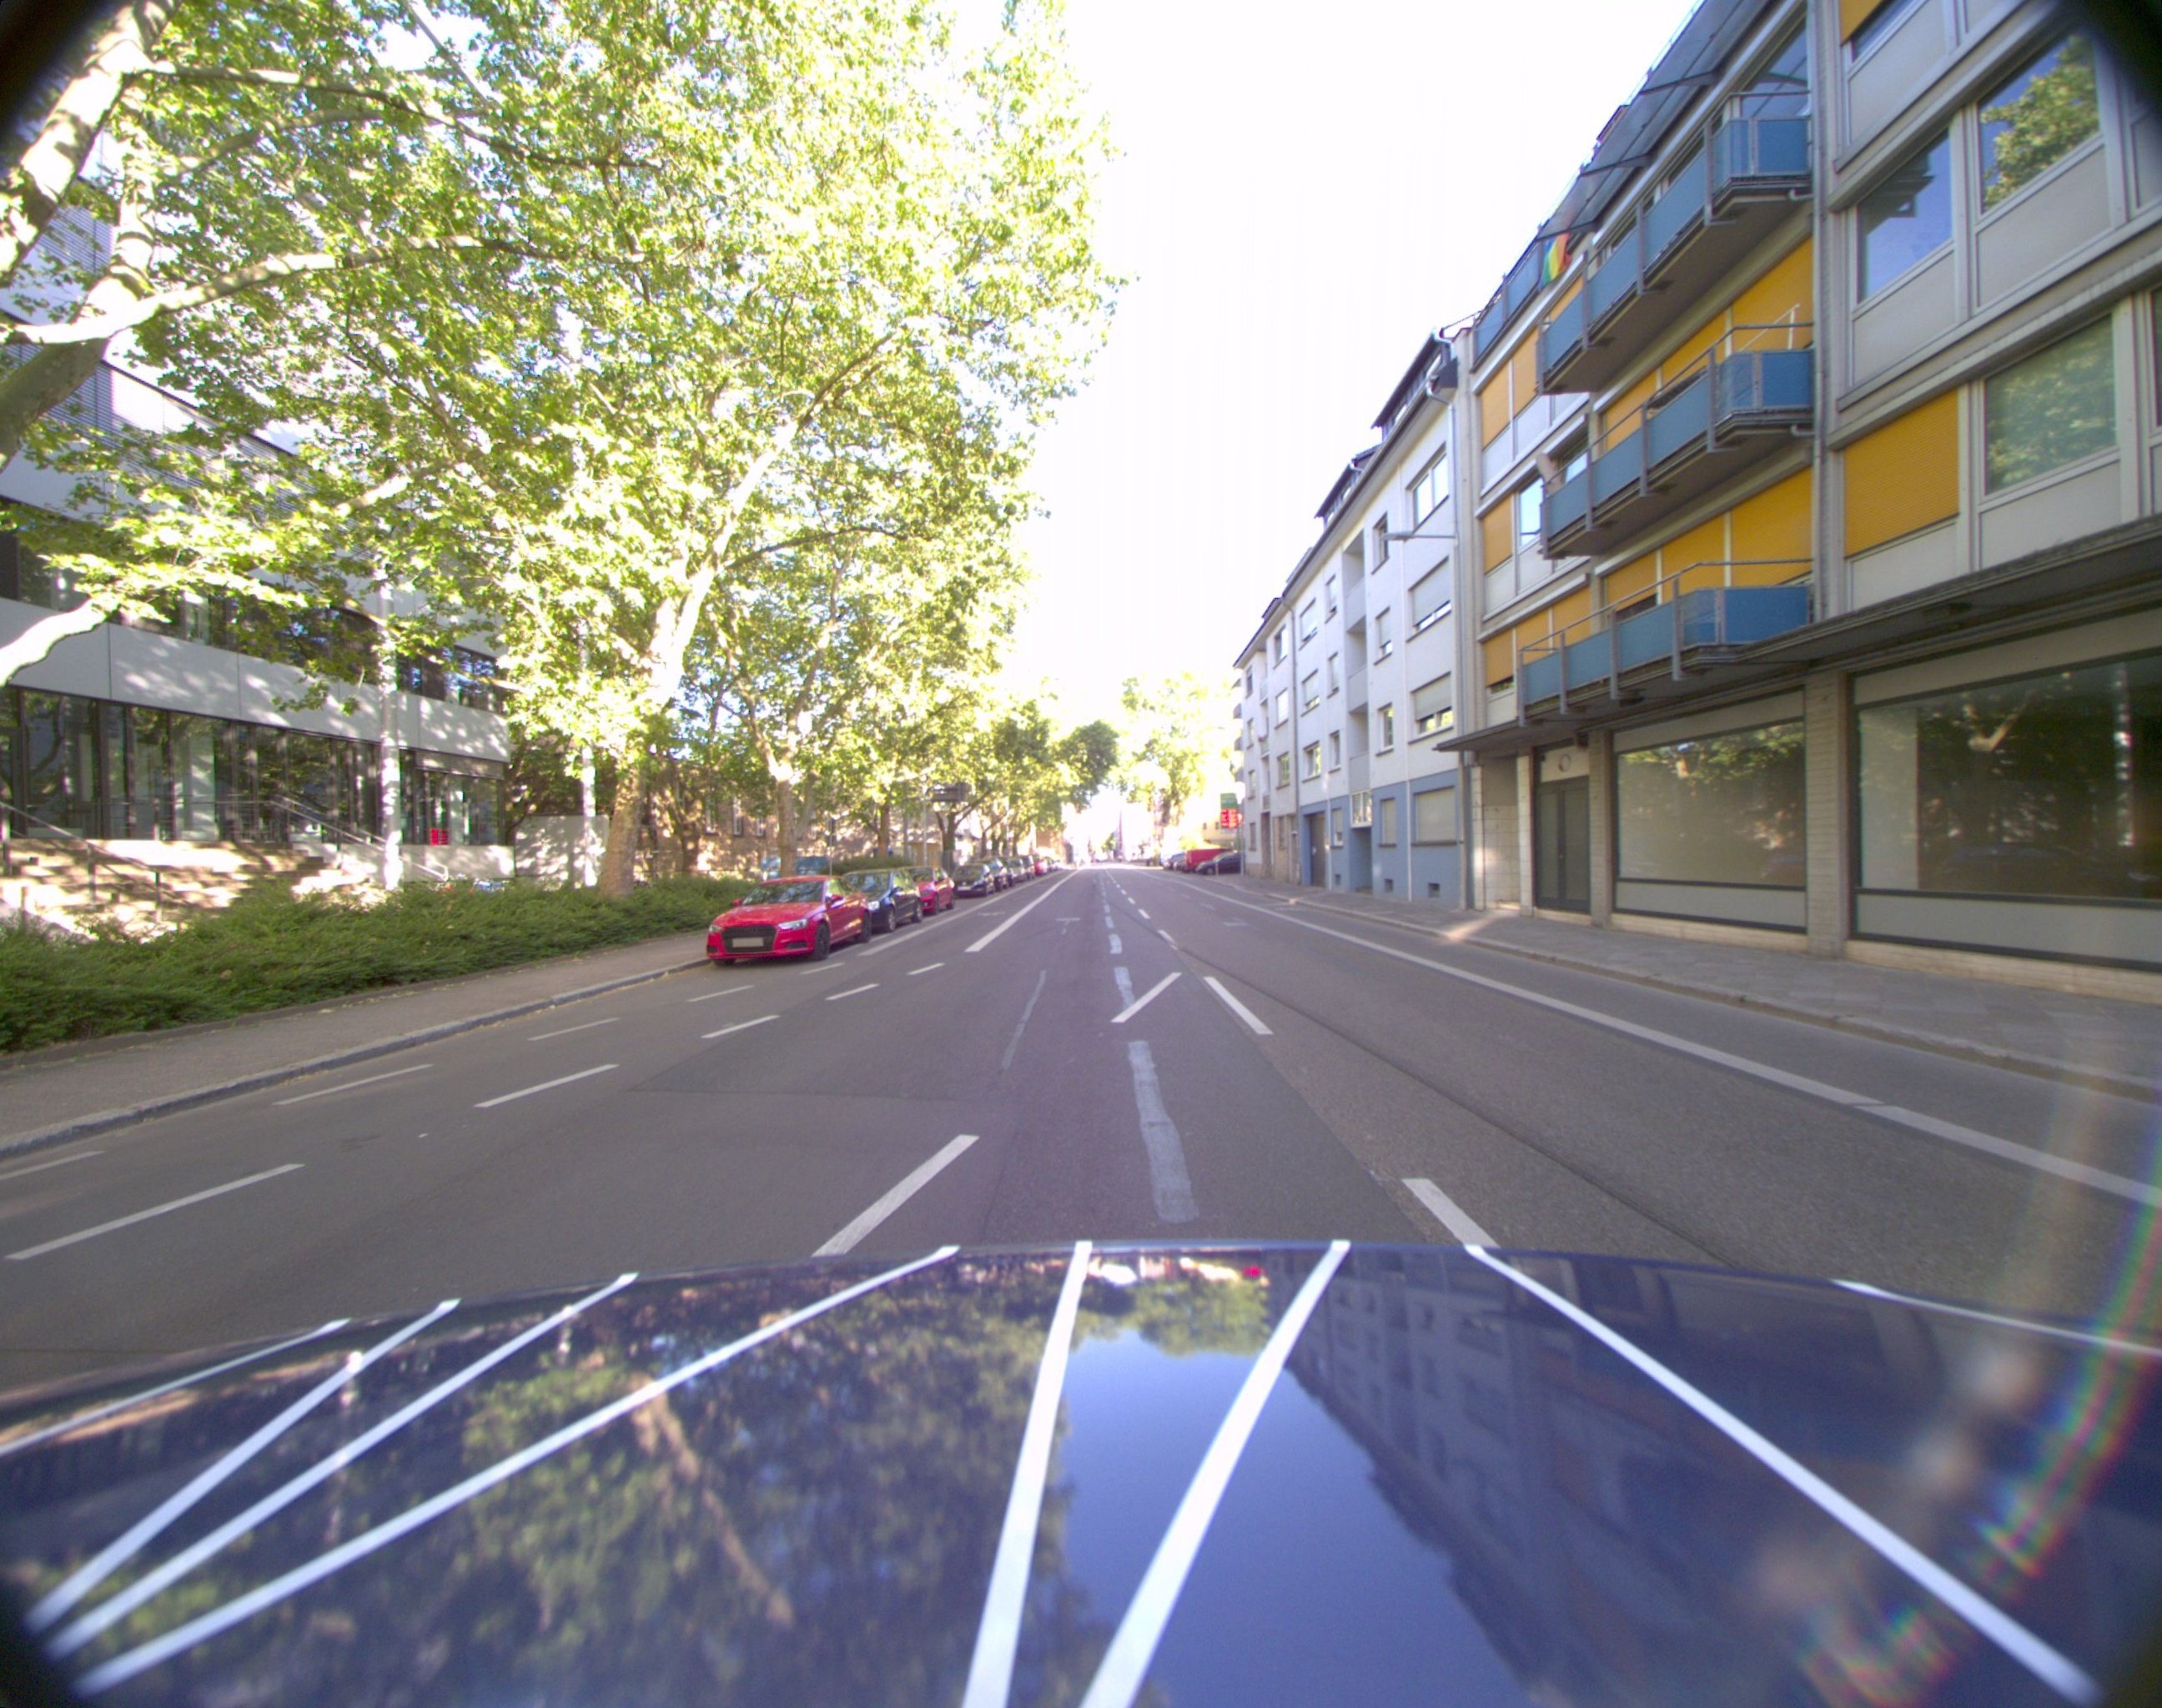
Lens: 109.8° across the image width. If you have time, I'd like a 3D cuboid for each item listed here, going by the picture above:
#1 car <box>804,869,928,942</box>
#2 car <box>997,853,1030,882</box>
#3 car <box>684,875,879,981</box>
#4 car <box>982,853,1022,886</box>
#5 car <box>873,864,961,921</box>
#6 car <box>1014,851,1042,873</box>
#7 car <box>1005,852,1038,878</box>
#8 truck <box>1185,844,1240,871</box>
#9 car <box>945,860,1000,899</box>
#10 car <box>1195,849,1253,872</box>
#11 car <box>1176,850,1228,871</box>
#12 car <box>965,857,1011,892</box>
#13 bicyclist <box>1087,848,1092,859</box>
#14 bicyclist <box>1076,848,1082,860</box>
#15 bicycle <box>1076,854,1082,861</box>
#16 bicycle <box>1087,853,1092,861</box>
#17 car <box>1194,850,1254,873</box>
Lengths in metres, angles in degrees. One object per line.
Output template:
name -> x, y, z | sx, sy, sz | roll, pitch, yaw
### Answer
car -> -5.086, 1.165, 18.580 | 1.818, 1.405, 4.163 | -3, 0, 0
car -> -4.452, 0.847, 50.708 | 1.790, 1.745, 4.552 | -3, 0, 0
car -> -5.141, 1.188, 13.724 | 1.818, 1.405, 4.163 | -3, 0, 0
car -> -4.530, 0.863, 44.153 | 1.790, 1.745, 4.345 | -3, 0, 0
car -> -5.034, 1.119, 23.864 | 1.818, 1.475, 4.163 | -3, 0, 0
car -> -4.599, 0.693, 66.097 | 2.042, 1.745, 4.552 | -3, 0, 0
car -> -4.324, 0.791, 55.667 | 2.042, 1.745, 4.552 | -3, 0, 0
truck -> 10.360, 0.239, 59.997 | 3.996, 1.925, 1.761 | -2, 1, 2
car -> -4.707, 1.072, 33.390 | 1.790, 1.451, 4.163 | -3, 0, 0
car -> 10.721, 0.473, 57.148 | 3.996, 1.494, 1.761 | -2, 1, 2
car -> 9.970, 0.519, 62.850 | 3.996, 1.494, 1.761 | -2, 1, 2
car -> -4.607, 0.973, 38.136 | 1.790, 1.544, 4.163 | -3, 0, 0
bicyclist -> 1.196, -0.078, 108.914 | 0.718, 1.573, 0.936 | -2, 1, 1
bicyclist -> -0.279, -0.011, 107.952 | 0.718, 1.573, 0.936 | -2, 1, 1
bicycle -> -0.268, 0.482, 107.922 | 0.717, 1.052, 2.485 | -2, 1, 1
bicycle -> 1.202, 0.444, 108.859 | 0.717, 1.052, 2.485 | -2, 1, 1
car -> 10.247, 0.540, 54.801 | 3.996, 1.449, 1.761 | -2, 1, 2
